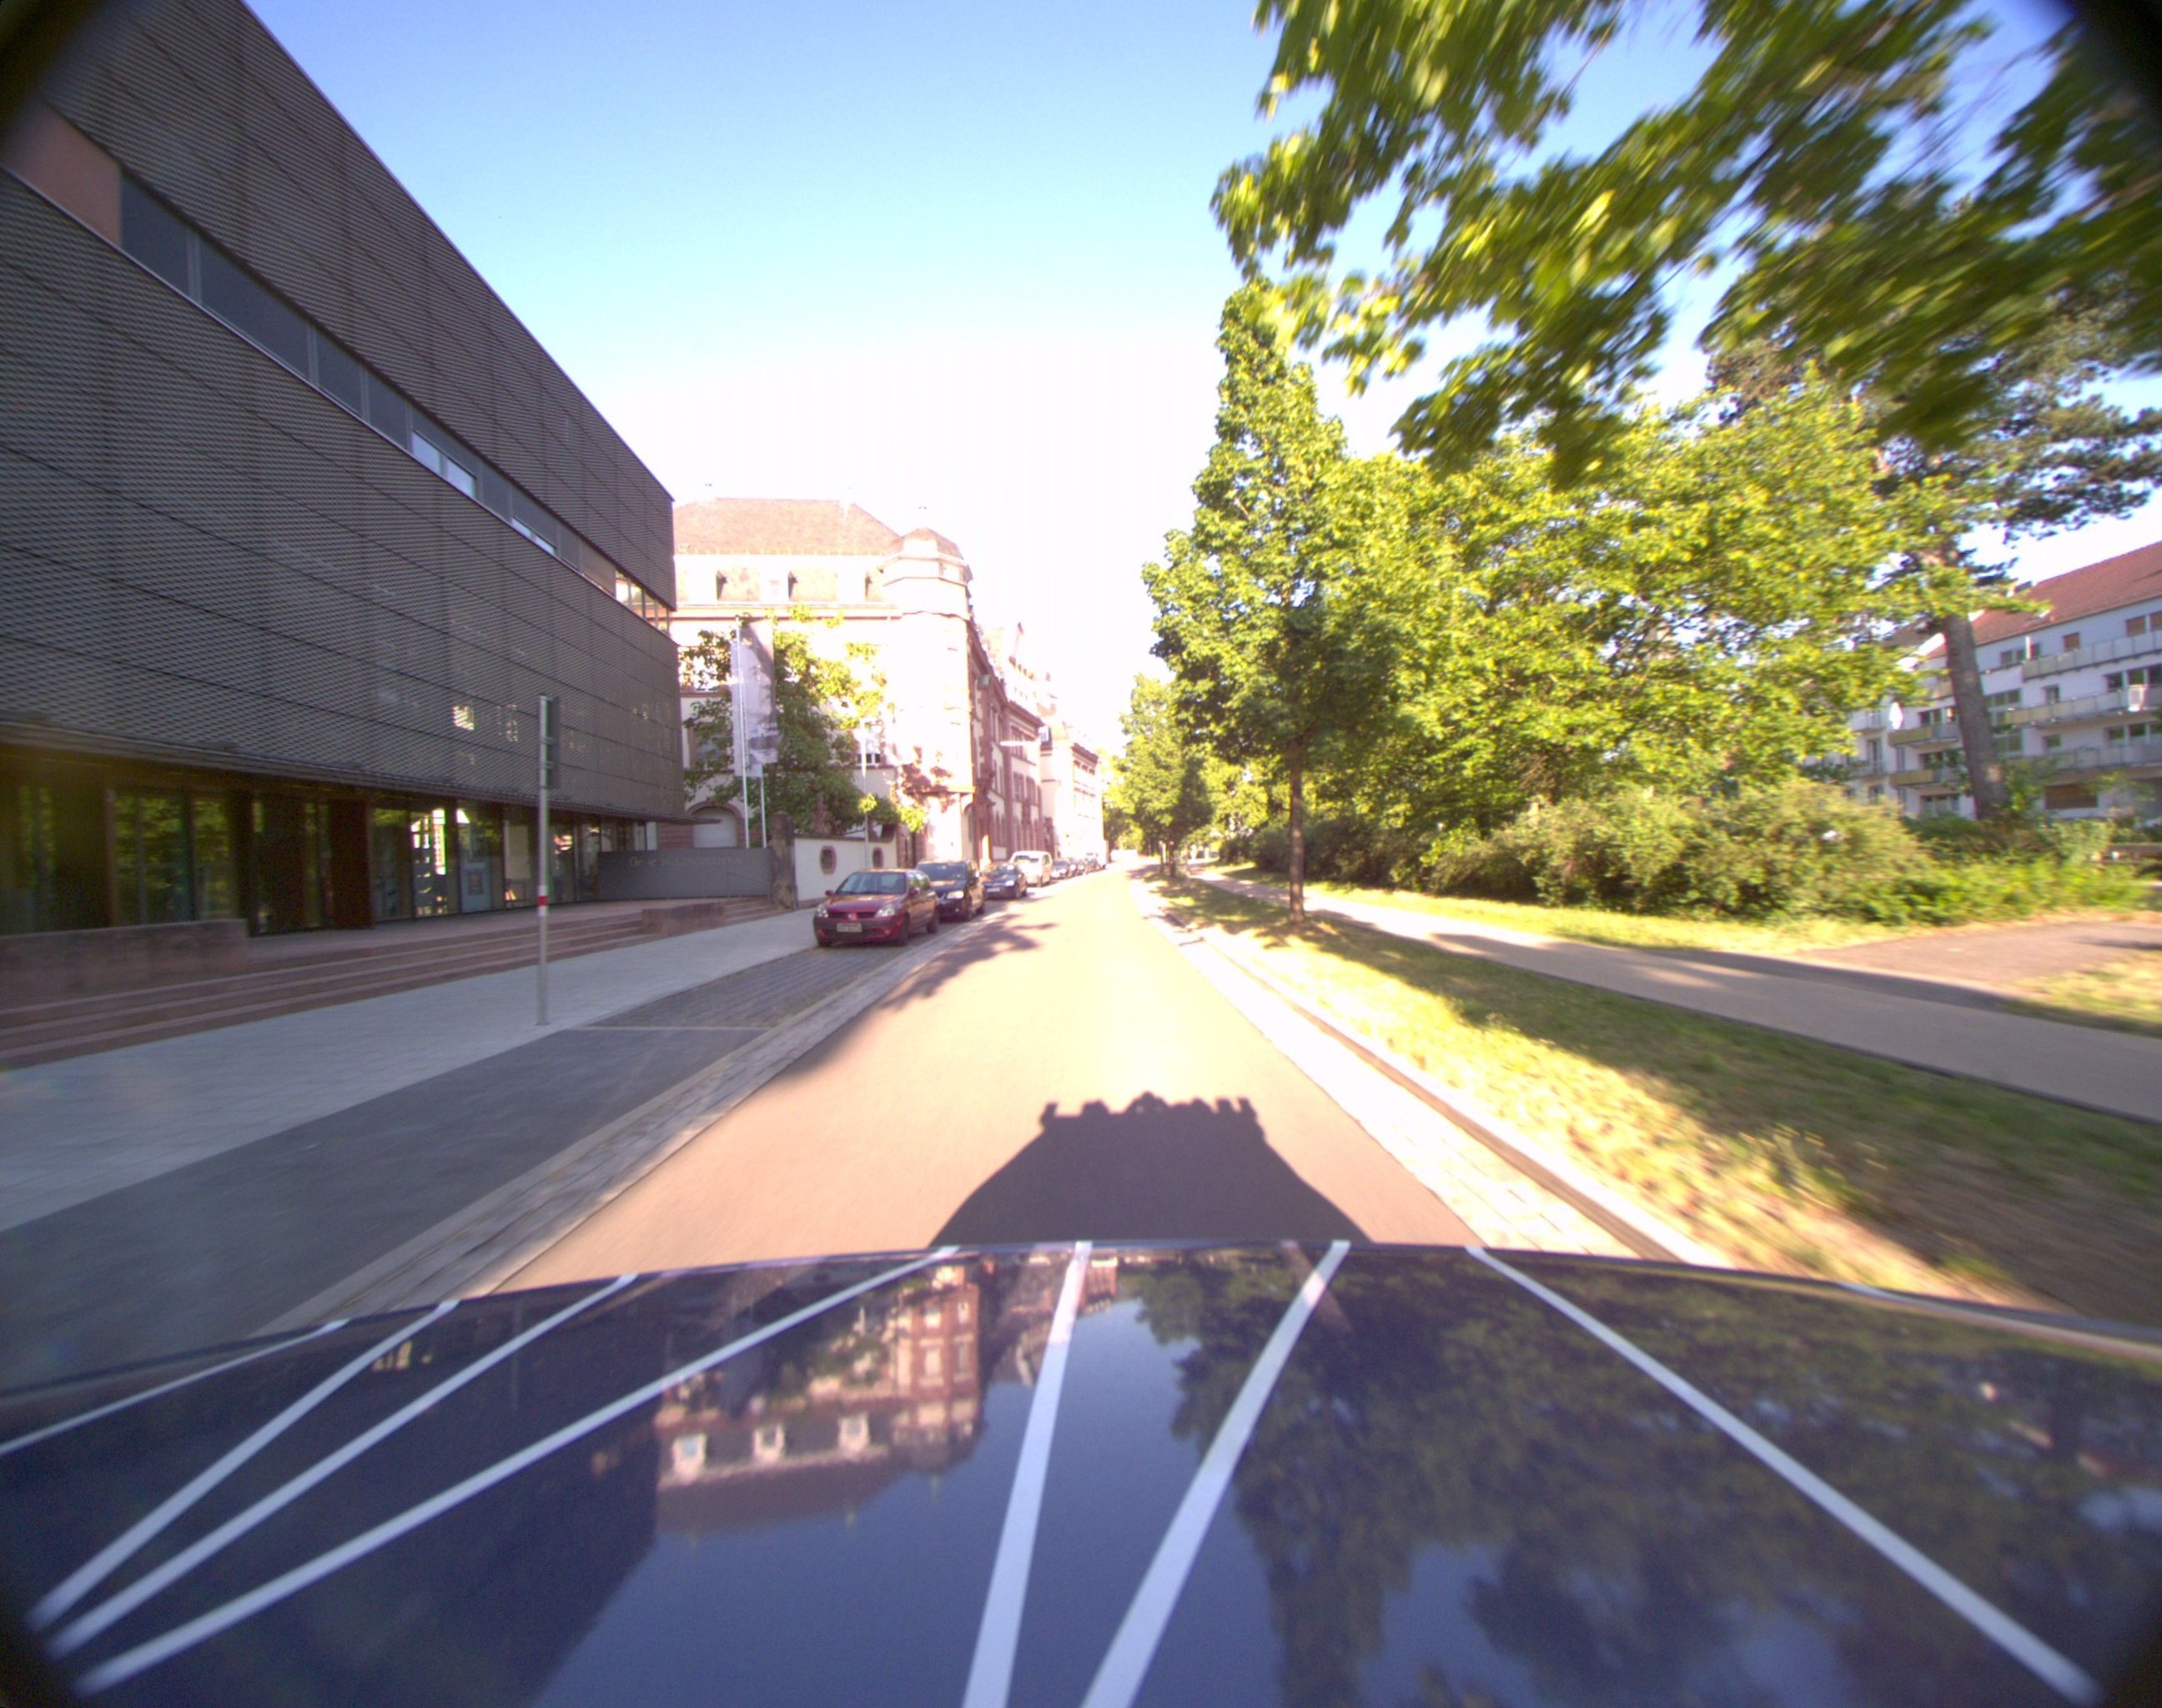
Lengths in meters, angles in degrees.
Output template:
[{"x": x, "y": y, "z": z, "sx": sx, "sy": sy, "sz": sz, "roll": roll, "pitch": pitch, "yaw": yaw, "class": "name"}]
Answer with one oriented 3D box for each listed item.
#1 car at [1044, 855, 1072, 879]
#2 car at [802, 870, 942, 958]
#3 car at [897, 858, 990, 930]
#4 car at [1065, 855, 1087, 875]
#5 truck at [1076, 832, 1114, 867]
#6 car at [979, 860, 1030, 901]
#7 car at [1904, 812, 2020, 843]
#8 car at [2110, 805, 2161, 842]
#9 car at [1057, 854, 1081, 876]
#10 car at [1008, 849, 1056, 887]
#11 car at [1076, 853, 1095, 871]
[{"x": -1.532, "y": 0.874, "z": 52.408, "sx": 1.583, "sy": 1.499, "sz": 3.847, "roll": -2, "pitch": 1, "yaw": 2, "class": "car"}, {"x": -3.922, "y": 1.070, "z": 14.844, "sx": 1.611, "sy": 1.349, "sz": 3.548, "roll": -2, "pitch": 1, "yaw": 2, "class": "car"}, {"x": -3.566, "y": 0.980, "z": 20.359, "sx": 1.611, "sy": 1.608, "sz": 3.950, "roll": -2, "pitch": 1, "yaw": 2, "class": "car"}, {"x": -0.383, "y": 0.856, "z": 63.355, "sx": 1.583, "sy": 1.499, "sz": 3.847, "roll": -2, "pitch": 1, "yaw": 3, "class": "car"}, {"x": 1.552, "y": -0.499, "z": 80.010, "sx": 3.019, "sy": 3.423, "sz": 7.626, "roll": -2, "pitch": 1, "yaw": 7, "class": "truck"}, {"x": -3.036, "y": 1.037, "z": 30.731, "sx": 1.510, "sy": 1.437, "sz": 3.730, "roll": -2, "pitch": 1, "yaw": 2, "class": "car"}, {"x": 49.096, "y": -1.505, "z": 42.502, "sx": 1.887, "sy": 1.565, "sz": 4.602, "roll": -2, "pitch": 2, "yaw": 13, "class": "car"}, {"x": 47.411, "y": -1.297, "z": 32.189, "sx": 1.888, "sy": 1.565, "sz": 4.601, "roll": -2, "pitch": 2, "yaw": 11, "class": "car"}, {"x": -0.903, "y": 0.821, "z": 58.289, "sx": 1.583, "sy": 1.499, "sz": 3.847, "roll": -2, "pitch": 1, "yaw": 3, "class": "car"}, {"x": -2.714, "y": 0.745, "z": 43.219, "sx": 2.119, "sy": 1.942, "sz": 4.761, "roll": -2, "pitch": 1, "yaw": 3, "class": "car"}, {"x": 0.462, "y": 0.746, "z": 70.373, "sx": 1.583, "sy": 1.499, "sz": 3.847, "roll": -2, "pitch": 1, "yaw": 3, "class": "car"}]
